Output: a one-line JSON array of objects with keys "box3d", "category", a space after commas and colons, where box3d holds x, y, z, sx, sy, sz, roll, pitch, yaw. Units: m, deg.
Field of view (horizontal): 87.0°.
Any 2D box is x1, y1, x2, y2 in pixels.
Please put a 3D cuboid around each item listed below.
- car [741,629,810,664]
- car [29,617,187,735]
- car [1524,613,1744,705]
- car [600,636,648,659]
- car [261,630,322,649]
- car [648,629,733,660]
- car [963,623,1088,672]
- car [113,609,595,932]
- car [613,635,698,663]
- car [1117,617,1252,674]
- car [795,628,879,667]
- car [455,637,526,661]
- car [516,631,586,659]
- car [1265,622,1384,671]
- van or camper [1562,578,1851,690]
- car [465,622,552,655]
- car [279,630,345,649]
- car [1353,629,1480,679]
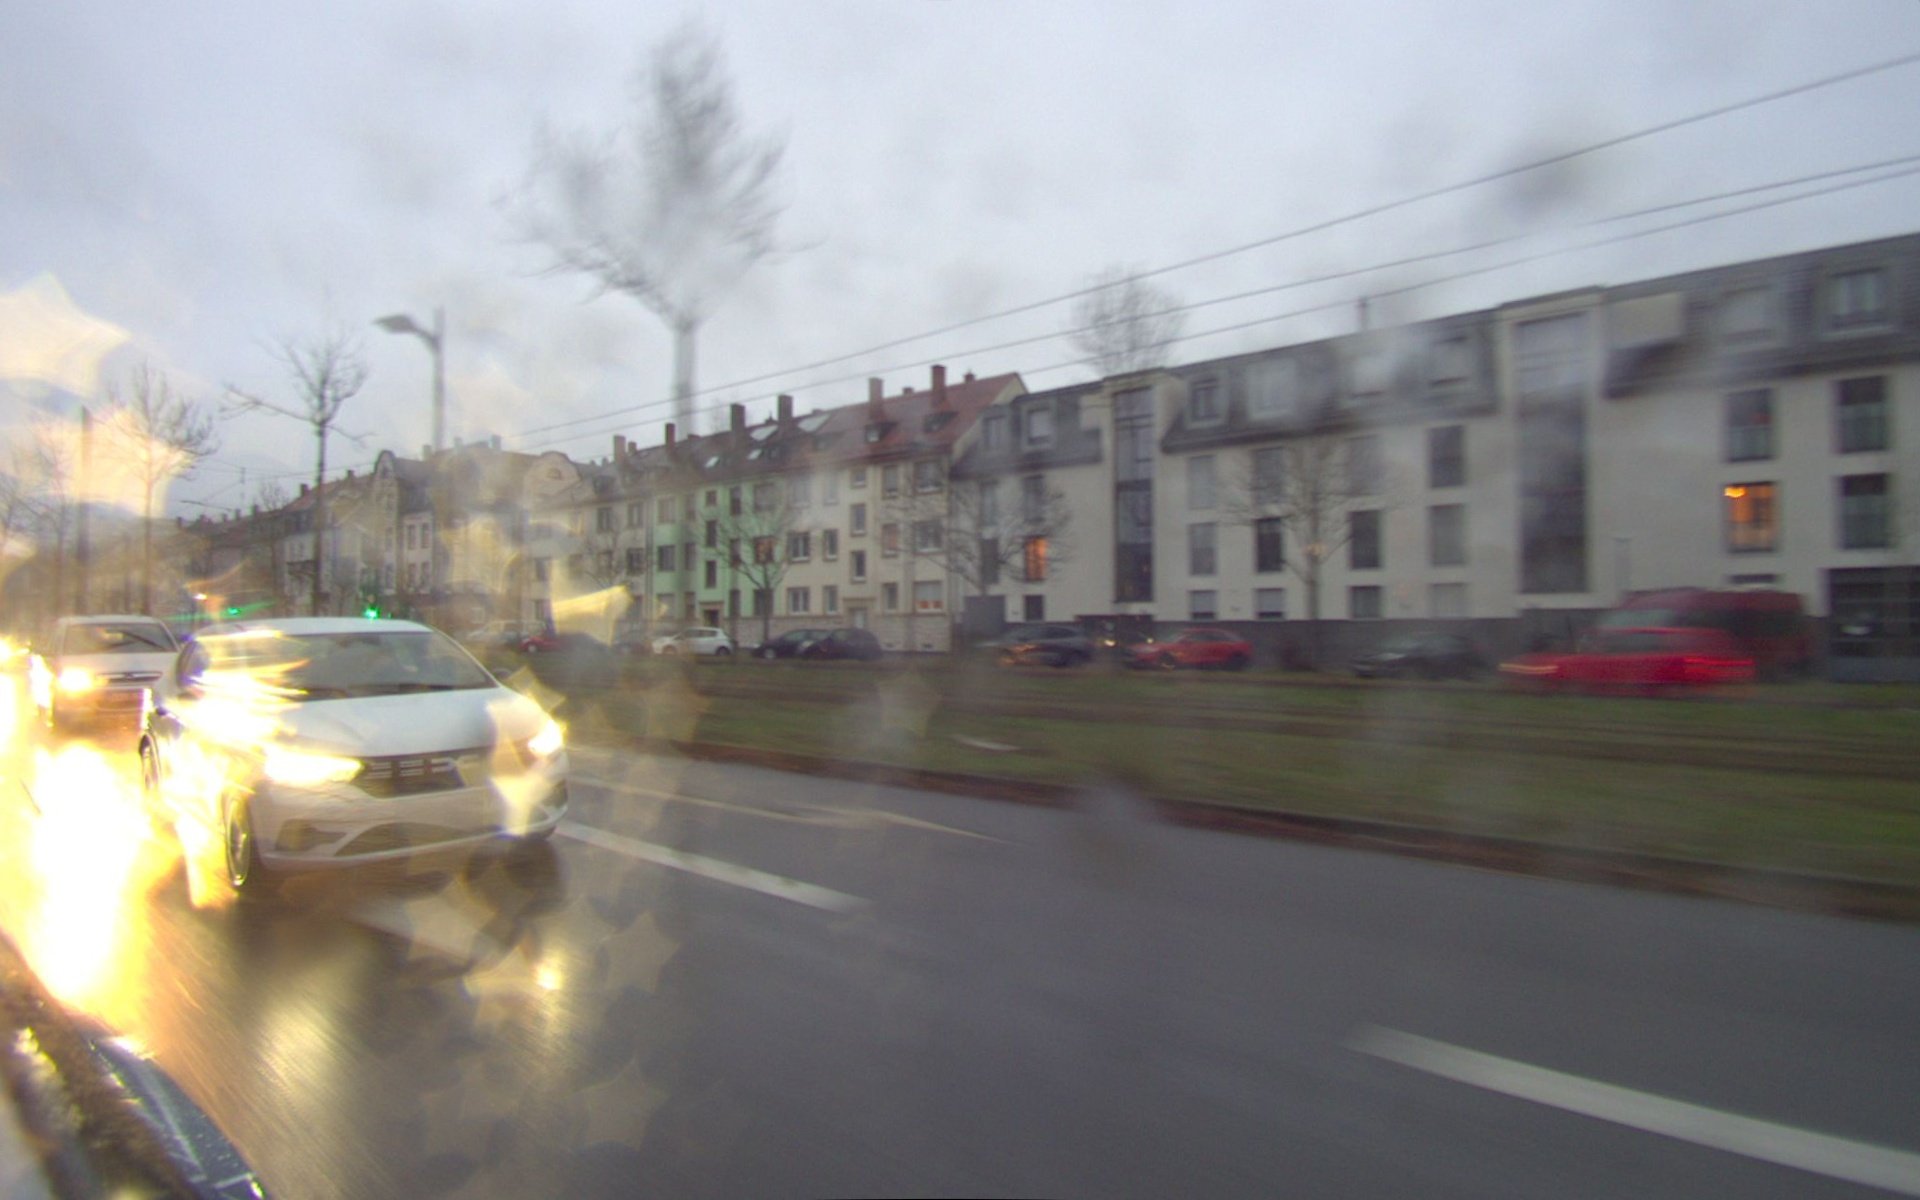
[{"box3d": [-8.133, 2.040, 44.513, 2.889, 1.346, 1.742, -2, 0, -11], "category": "car"}, {"box3d": [-13.152, 1.074, 15.540, 1.615, 1.531, 3.911, -1, 0, -43], "category": "car"}, {"box3d": [13.421, 1.130, 20.220, 3.505, 1.635, 1.598, -2, 0, 39], "category": "car"}, {"box3d": [-17.495, 2.446, 52.701, 2.351, 1.056, 1.441, -2, -1, -19], "category": "car"}, {"box3d": [-54.980, 3.262, 83.284, 3.977, 1.239, 1.352, -3, 2, -15], "category": "car"}, {"box3d": [-12.951, 2.130, 48.678, 3.777, 1.255, 1.743, -2, 0, -20], "category": "car"}, {"box3d": [2.328, 1.671, 36.243, 4.092, 1.552, 1.675, -2, 0, -15], "category": "car"}, {"box3d": [-4.219, 0.852, 6.751, 4.000, 1.485, 1.670, -2, 0, 42], "category": "car"}, {"box3d": [-15.105, 2.422, 50.409, 3.763, 1.181, 1.740, -2, 0, -5], "category": "car"}, {"box3d": [7.180, 1.419, 32.451, 3.784, 1.600, 1.747, -2, 0, -16], "category": "car"}, {"box3d": [-5.184, 1.974, 42.531, 3.329, 1.432, 1.674, -2, 0, -13], "category": "car"}, {"box3d": [-26.938, 2.786, 58.168, 3.510, 1.149, 1.742, -2, 0, -19], "category": "car"}, {"box3d": [-22.940, 2.500, 56.816, 3.519, 1.319, 1.692, -2, 0, -19], "category": "car"}, {"box3d": [10.954, 1.386, 30.482, 3.047, 1.312, 1.391, -2, 0, -10], "category": "car"}, {"box3d": [18.179, 0.740, 24.645, 6.763, 2.377, 2.006, -2, 0, -17], "category": "van or camper"}, {"box3d": [-27.193, 2.285, 61.161, 4.579, 1.736, 1.839, -2, 0, -17], "category": "car"}, {"box3d": [-52.159, 3.201, 81.511, 4.038, 1.169, 1.716, -3, 2, -12], "category": "car"}, {"box3d": [12.479, 1.465, 27.735, 2.841, 1.213, 1.391, -2, 0, -10], "category": "car"}]
